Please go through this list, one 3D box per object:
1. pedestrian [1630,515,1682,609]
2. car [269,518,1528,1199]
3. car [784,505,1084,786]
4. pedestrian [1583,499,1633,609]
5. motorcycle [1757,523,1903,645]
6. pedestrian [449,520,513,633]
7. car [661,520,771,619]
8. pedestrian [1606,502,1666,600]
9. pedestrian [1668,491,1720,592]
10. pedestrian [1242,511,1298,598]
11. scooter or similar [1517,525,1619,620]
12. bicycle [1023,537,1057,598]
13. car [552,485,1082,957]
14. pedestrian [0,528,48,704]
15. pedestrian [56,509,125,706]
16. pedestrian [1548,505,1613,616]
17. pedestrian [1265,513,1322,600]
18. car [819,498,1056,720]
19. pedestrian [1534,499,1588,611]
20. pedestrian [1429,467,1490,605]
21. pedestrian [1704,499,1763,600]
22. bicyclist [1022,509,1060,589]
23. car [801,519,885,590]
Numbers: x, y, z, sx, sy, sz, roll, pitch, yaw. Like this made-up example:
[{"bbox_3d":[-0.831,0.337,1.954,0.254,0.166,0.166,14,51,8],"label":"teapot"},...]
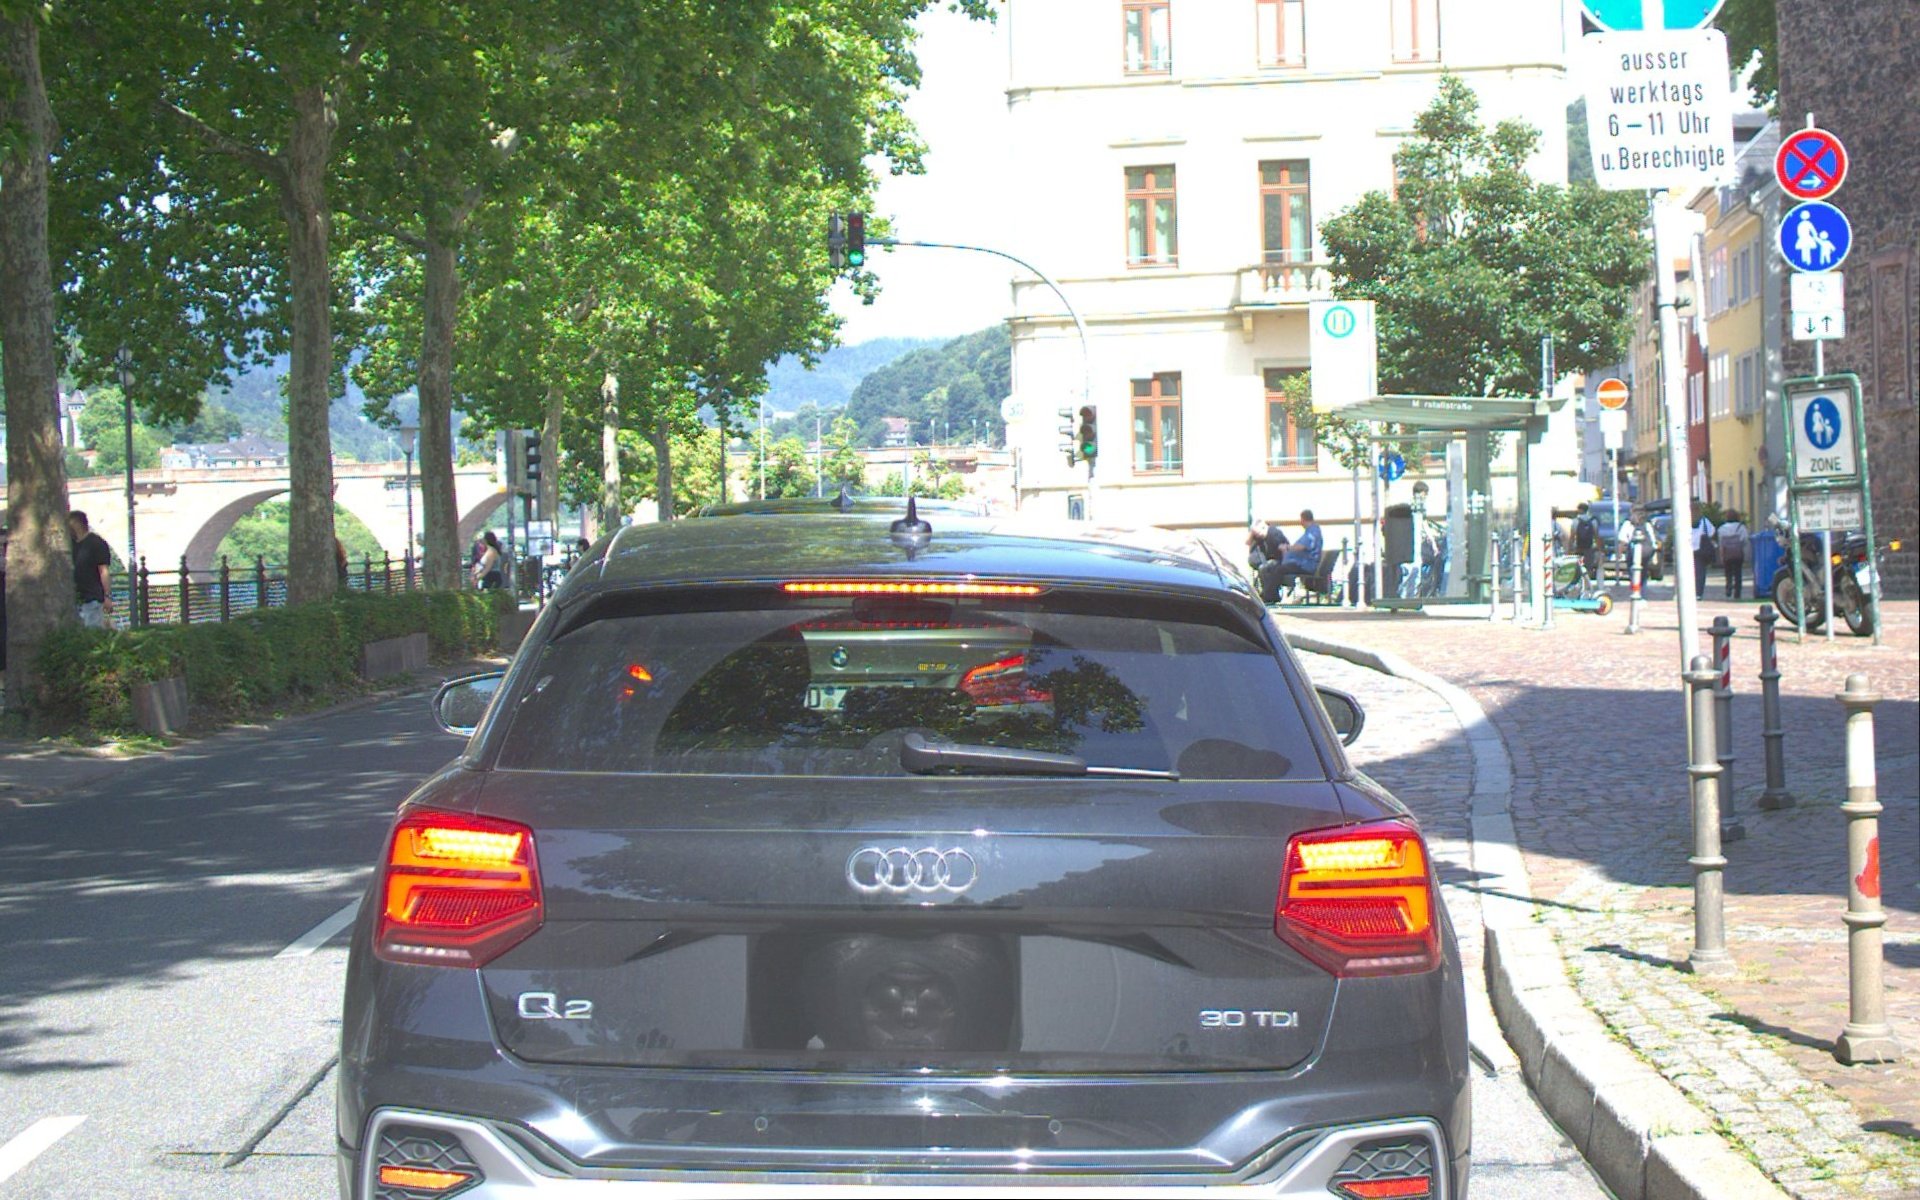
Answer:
[{"bbox_3d":[15.039,-0.826,74.287,0.944,2.007,0.807,1,0,0],"label":"pedestrian"},{"bbox_3d":[-0.111,0.610,6.627,1.743,1.504,3.647,1,1,-1],"label":"car"},{"bbox_3d":[-0.167,0.219,21.511,1.710,1.603,3.655,0,1,-1],"label":"car"},{"bbox_3d":[13.952,-0.992,74.037,0.879,2.350,0.745,1,0,-1],"label":"pedestrian"},{"bbox_3d":[7.599,-0.163,30.127,0.566,1.009,2.490,-1,1,-2],"label":"motorcycle"},{"bbox_3d":[-7.761,-0.377,55.702,0.911,1.805,0.585,1,0,4],"label":"pedestrian"},{"bbox_3d":[-4.418,-0.586,62.757,1.673,1.654,4.223,-4,1,-1],"label":"car"},{"bbox_3d":[10.264,-0.745,52.219,0.638,1.439,0.799,-2,1,-7],"label":"pedestrian"},{"bbox_3d":[12.031,-0.962,56.372,0.607,1.613,0.710,-3,0,-1],"label":"pedestrian"},{"bbox_3d":[4.411,-0.645,48.882,0.663,1.227,0.641,1,0,-6],"label":"pedestrian"},{"bbox_3d":[6.961,-0.314,39.368,1.088,1.062,0.323,1,0,-2],"label":"scooter or similar"},{"bbox_3d":[1.454,-0.592,62.475,0.437,1.082,1.677,1,0,-5],"label":"bicycle"},{"bbox_3d":[-0.510,0.379,13.469,1.793,1.589,3.399,1,1,-1],"label":"car"},{"bbox_3d":[-9.219,0.154,33.255,0.601,1.680,0.583,-1,1,-2],"label":"pedestrian"},{"bbox_3d":[-8.383,0.068,33.162,0.534,1.880,0.436,1,1,-1],"label":"pedestrian"},{"bbox_3d":[11.391,-0.723,63.136,0.940,2.007,0.808,1,0,-7],"label":"pedestrian"},{"bbox_3d":[4.670,-0.610,48.188,0.663,1.207,0.641,1,0,-6],"label":"pedestrian"},{"bbox_3d":[-0.194,0.025,28.267,1.794,1.676,4.000,1,1,-1],"label":"car"},{"bbox_3d":[7.447,-0.558,42.604,0.557,1.380,0.588,1,0,2],"label":"pedestrian"},{"bbox_3d":[6.097,-0.779,42.016,0.654,1.656,0.810,-1,1,5],"label":"pedestrian"},{"bbox_3d":[12.669,-0.834,56.329,0.691,1.607,0.891,-3,1,-1],"label":"pedestrian"},{"bbox_3d":[1.469,-0.927,62.524,0.605,1.445,0.591,1,0,-5],"label":"bicyclist"},{"bbox_3d":[-3.050,-1.178,90.533,1.993,1.800,4.000,1,0,1],"label":"car"}]
